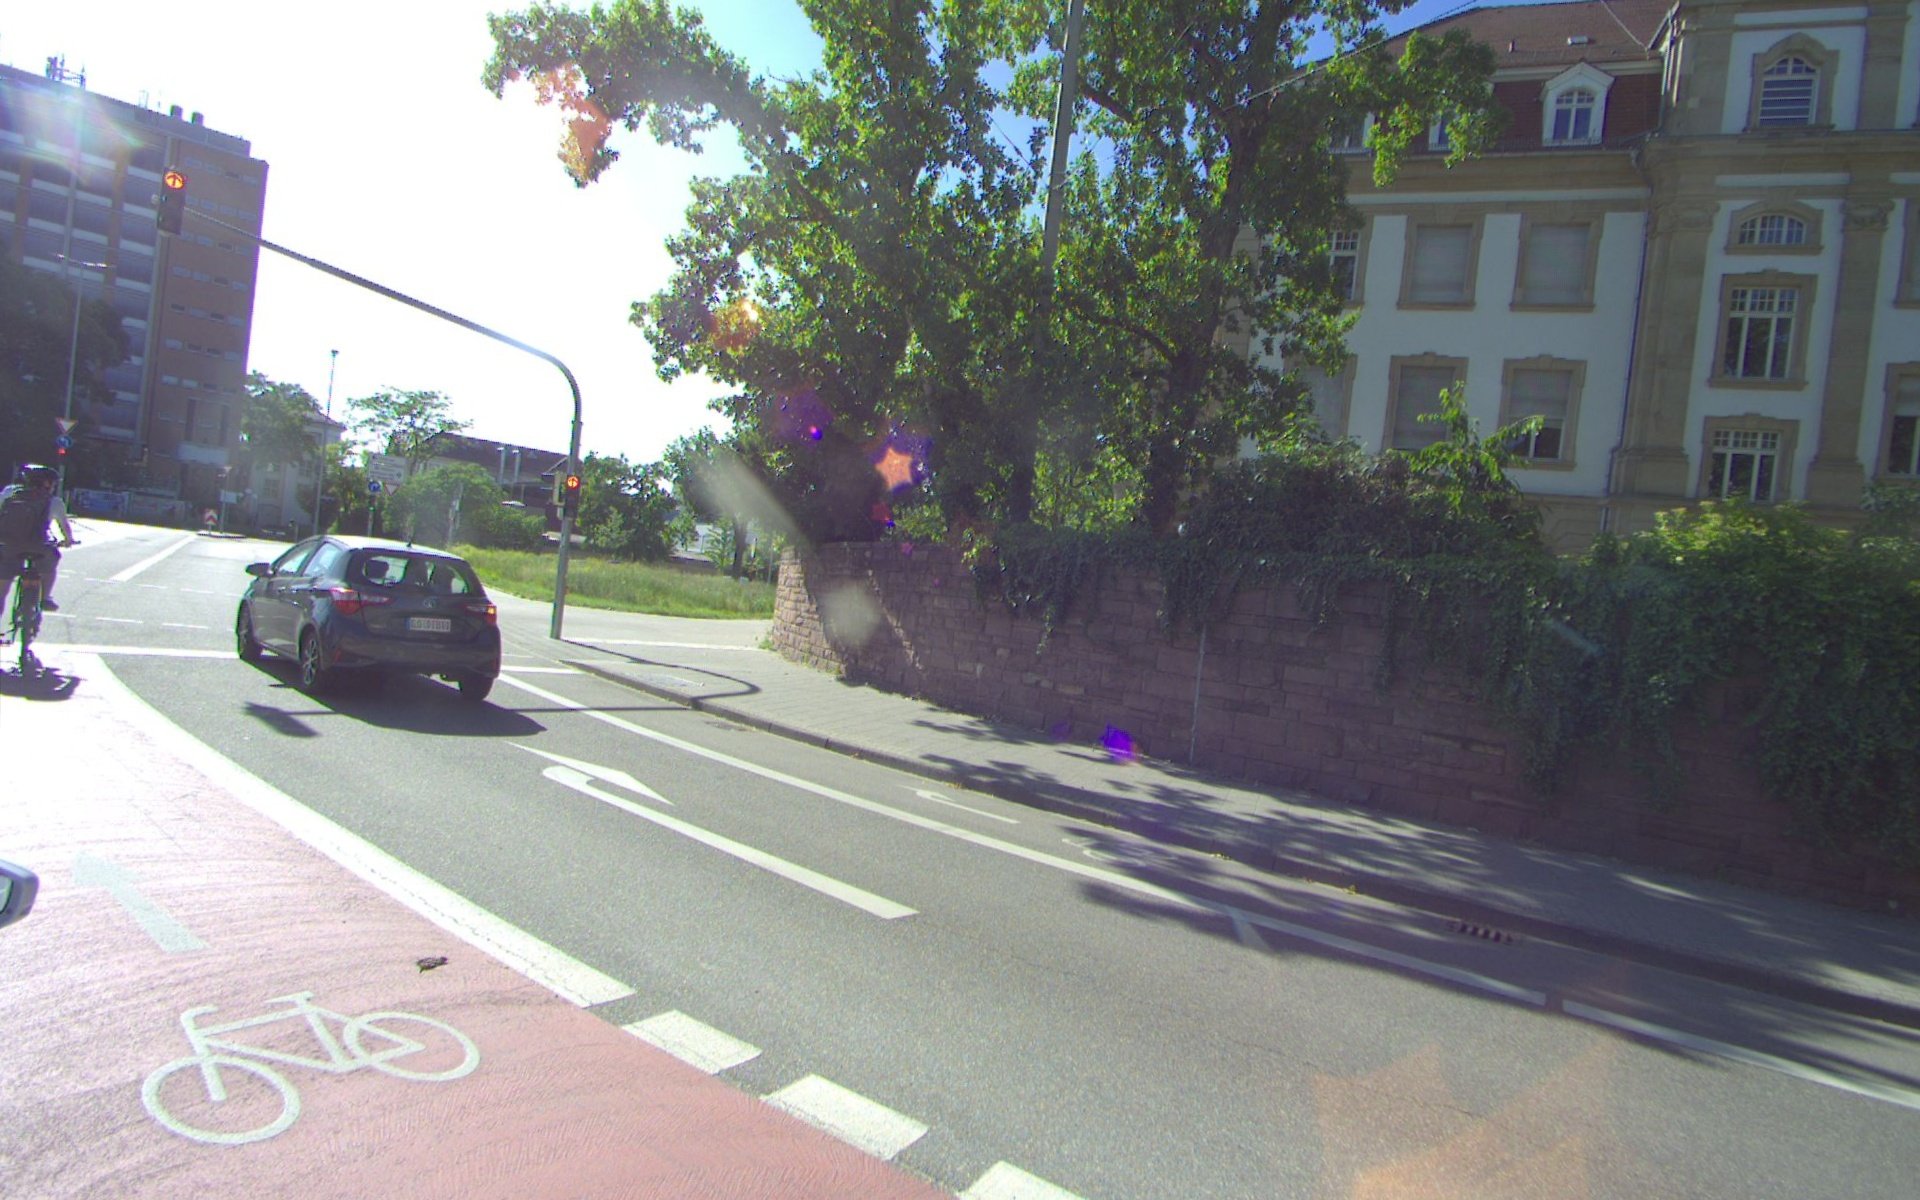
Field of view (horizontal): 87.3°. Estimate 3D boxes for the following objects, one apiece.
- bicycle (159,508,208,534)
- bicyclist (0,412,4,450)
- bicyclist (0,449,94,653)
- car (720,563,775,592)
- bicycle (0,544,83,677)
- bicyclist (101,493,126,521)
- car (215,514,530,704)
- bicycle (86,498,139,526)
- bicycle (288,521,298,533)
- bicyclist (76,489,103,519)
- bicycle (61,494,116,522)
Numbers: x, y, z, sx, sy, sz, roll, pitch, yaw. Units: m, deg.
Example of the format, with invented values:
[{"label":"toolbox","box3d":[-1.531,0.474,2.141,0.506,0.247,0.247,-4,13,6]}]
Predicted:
[{"label":"bicycle","box3d":[-59.963,-6.087,77.716,2.783,1.559,0.877,8,-2,-33]},{"label":"bicyclist","box3d":[-6.827,-0.400,6.526,0.991,1.769,0.663,7,0,39]},{"label":"bicyclist","box3d":[-8.217,-0.443,8.843,0.719,1.645,1.042,8,0,-43]},{"label":"car","box3d":[-19.222,-2.038,90.930,4.309,2.037,1.988,7,-2,-26]},{"label":"bicycle","box3d":[-8.330,0.050,8.897,0.720,0.971,1.860,8,-1,-43]},{"label":"bicyclist","box3d":[-63.167,-6.929,75.092,1.149,1.818,0.877,7,-1,-33]},{"label":"car","box3d":[-6.394,0.048,10.805,3.607,1.560,1.754,7,-1,41]},{"label":"bicycle","box3d":[-63.215,-6.564,75.089,2.783,1.559,0.877,8,-2,-33]},{"label":"bicycle","box3d":[-70.071,-7.683,105.749,0.603,1.106,1.660,6,1,-27]},{"label":"bicyclist","box3d":[-63.225,-6.966,73.066,1.199,1.919,0.877,7,-1,-33]},{"label":"bicycle","box3d":[-63.276,-6.646,73.067,2.783,1.559,0.877,8,-2,-33]}]
